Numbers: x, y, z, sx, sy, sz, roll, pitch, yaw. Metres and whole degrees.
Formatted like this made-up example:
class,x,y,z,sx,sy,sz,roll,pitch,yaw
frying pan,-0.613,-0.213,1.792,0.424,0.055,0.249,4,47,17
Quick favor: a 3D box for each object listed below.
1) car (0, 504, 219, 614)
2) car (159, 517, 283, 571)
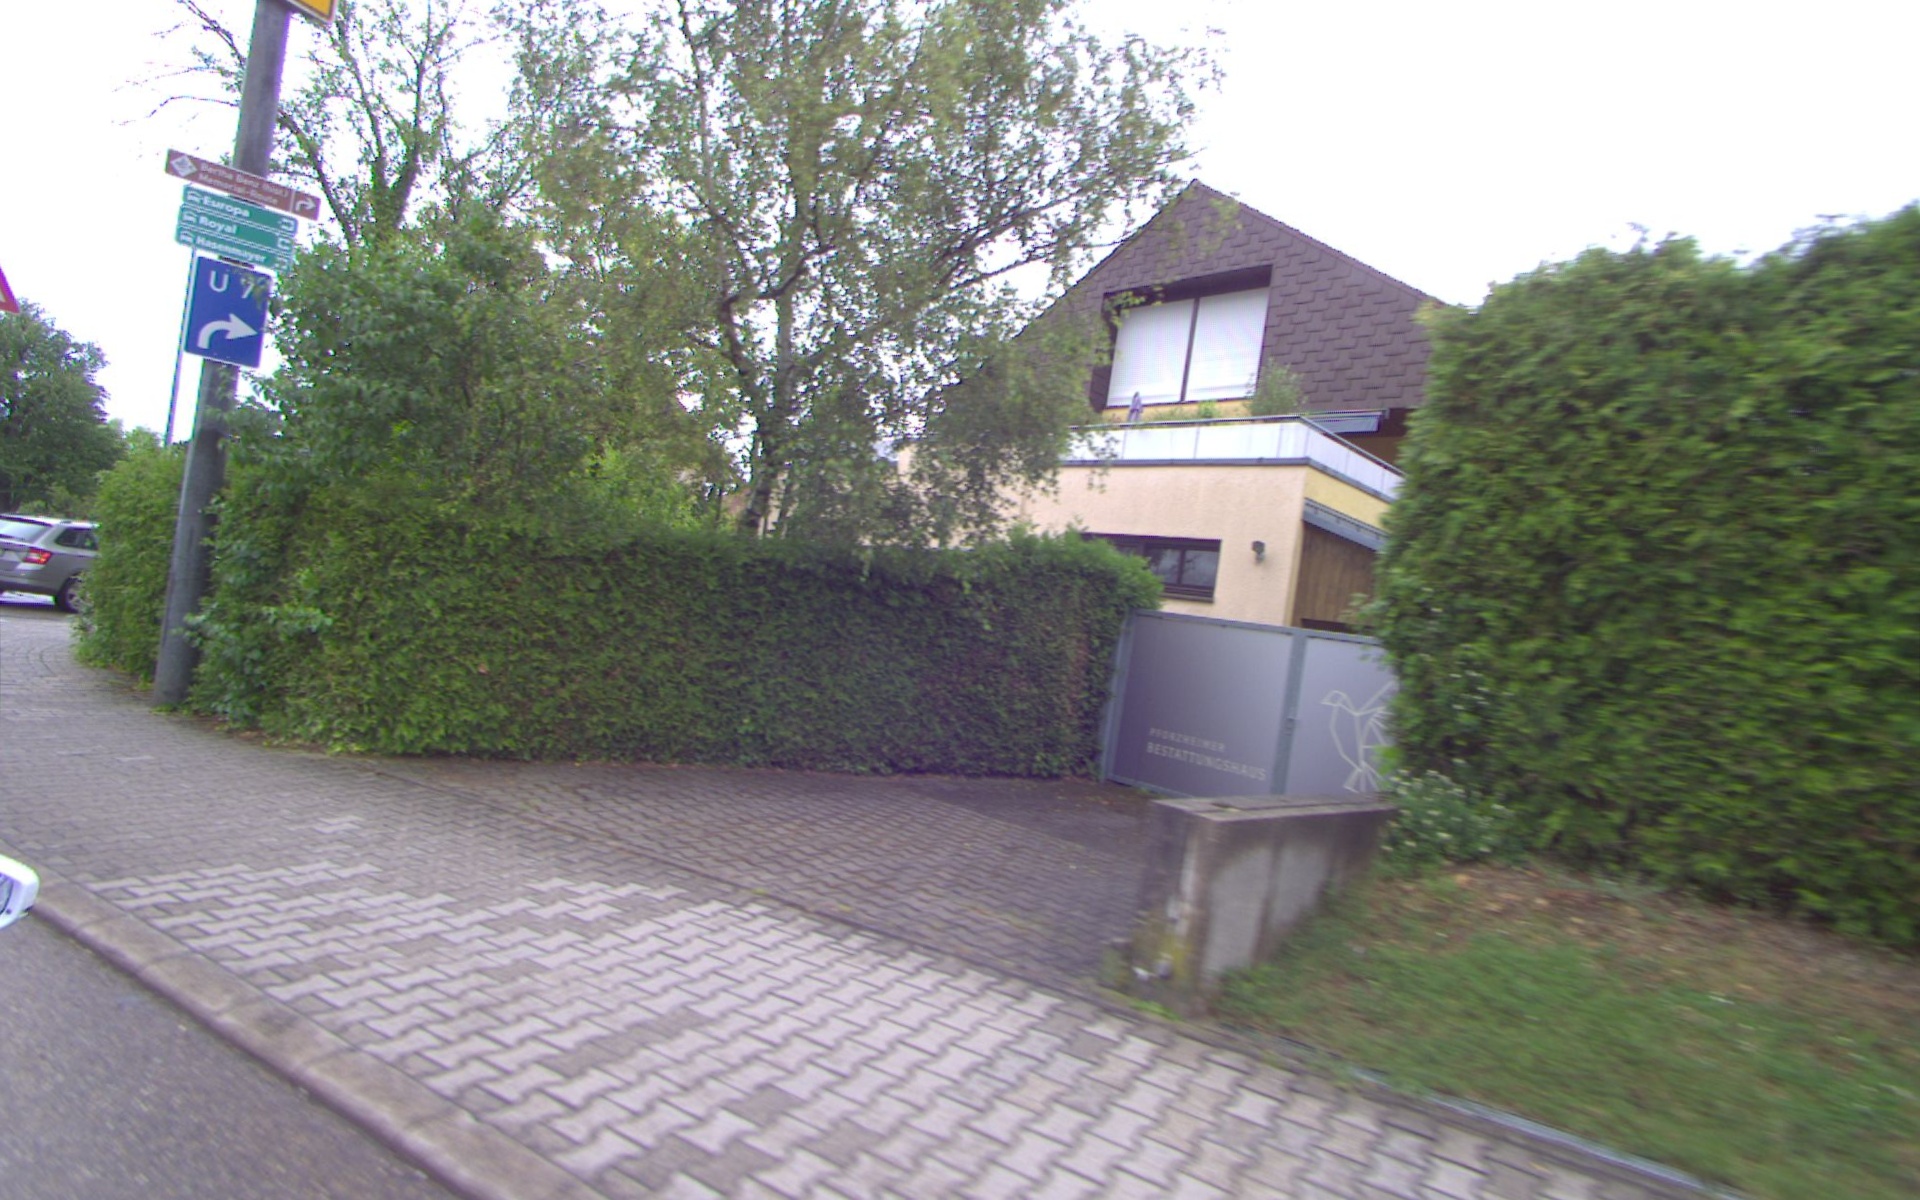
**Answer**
class,x,y,z,sx,sy,sz,roll,pitch,yaw
car,-15.069,-0.669,17.267,1.740,1.527,4.000,9,-2,-4
car,-48.947,-3.682,66.721,2.814,2.223,6.001,8,-4,43
